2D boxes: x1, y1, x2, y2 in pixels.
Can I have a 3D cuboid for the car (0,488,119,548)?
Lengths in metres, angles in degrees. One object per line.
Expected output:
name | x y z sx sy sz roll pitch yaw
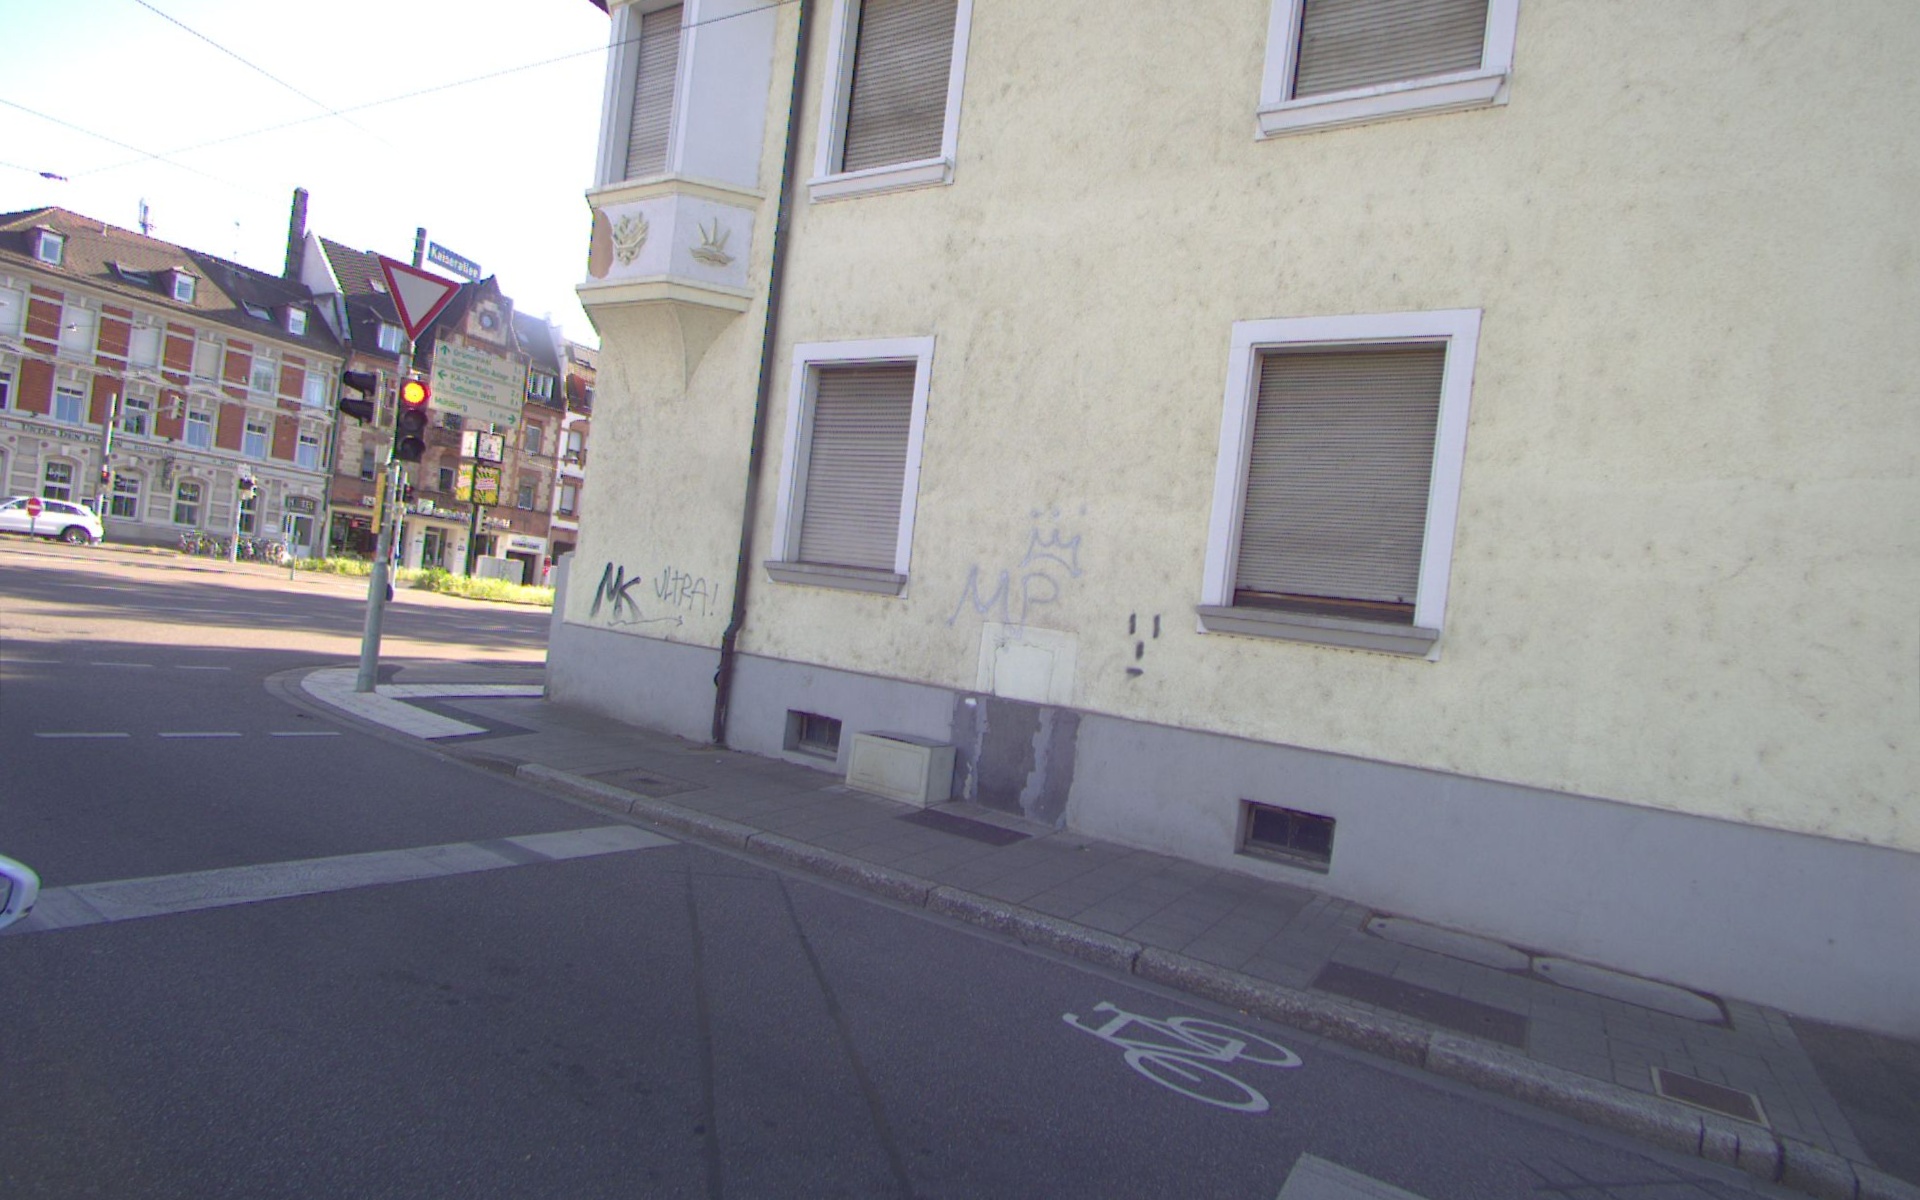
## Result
car | -34.037 -3.086 36.532 1.965 1.680 4.861 7 -1 26

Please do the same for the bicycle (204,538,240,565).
bicycle | -34.316 -2.261 46.766 1.614 1.064 0.606 7 0 27

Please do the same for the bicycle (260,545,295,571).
bicycle | -32.982 -2.012 48.584 1.614 1.064 0.606 7 0 27

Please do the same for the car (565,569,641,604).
car | -23.124 -0.860 65.304 1.966 1.674 4.378 7 -1 29

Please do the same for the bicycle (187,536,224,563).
bicycle | -34.646 -2.328 46.190 1.614 1.064 0.606 7 0 27

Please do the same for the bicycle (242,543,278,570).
bicycle | -33.356 -2.087 47.947 1.614 1.064 0.606 7 0 27

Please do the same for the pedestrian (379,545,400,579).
pedestrian | -31.840 -2.105 56.163 0.414 1.773 0.709 7 0 33

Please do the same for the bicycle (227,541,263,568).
bicycle | -33.650 -2.150 47.336 1.614 1.064 0.606 7 0 27

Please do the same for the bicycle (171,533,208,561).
bicycle | -34.946 -2.390 45.608 1.614 1.064 0.606 7 0 27
